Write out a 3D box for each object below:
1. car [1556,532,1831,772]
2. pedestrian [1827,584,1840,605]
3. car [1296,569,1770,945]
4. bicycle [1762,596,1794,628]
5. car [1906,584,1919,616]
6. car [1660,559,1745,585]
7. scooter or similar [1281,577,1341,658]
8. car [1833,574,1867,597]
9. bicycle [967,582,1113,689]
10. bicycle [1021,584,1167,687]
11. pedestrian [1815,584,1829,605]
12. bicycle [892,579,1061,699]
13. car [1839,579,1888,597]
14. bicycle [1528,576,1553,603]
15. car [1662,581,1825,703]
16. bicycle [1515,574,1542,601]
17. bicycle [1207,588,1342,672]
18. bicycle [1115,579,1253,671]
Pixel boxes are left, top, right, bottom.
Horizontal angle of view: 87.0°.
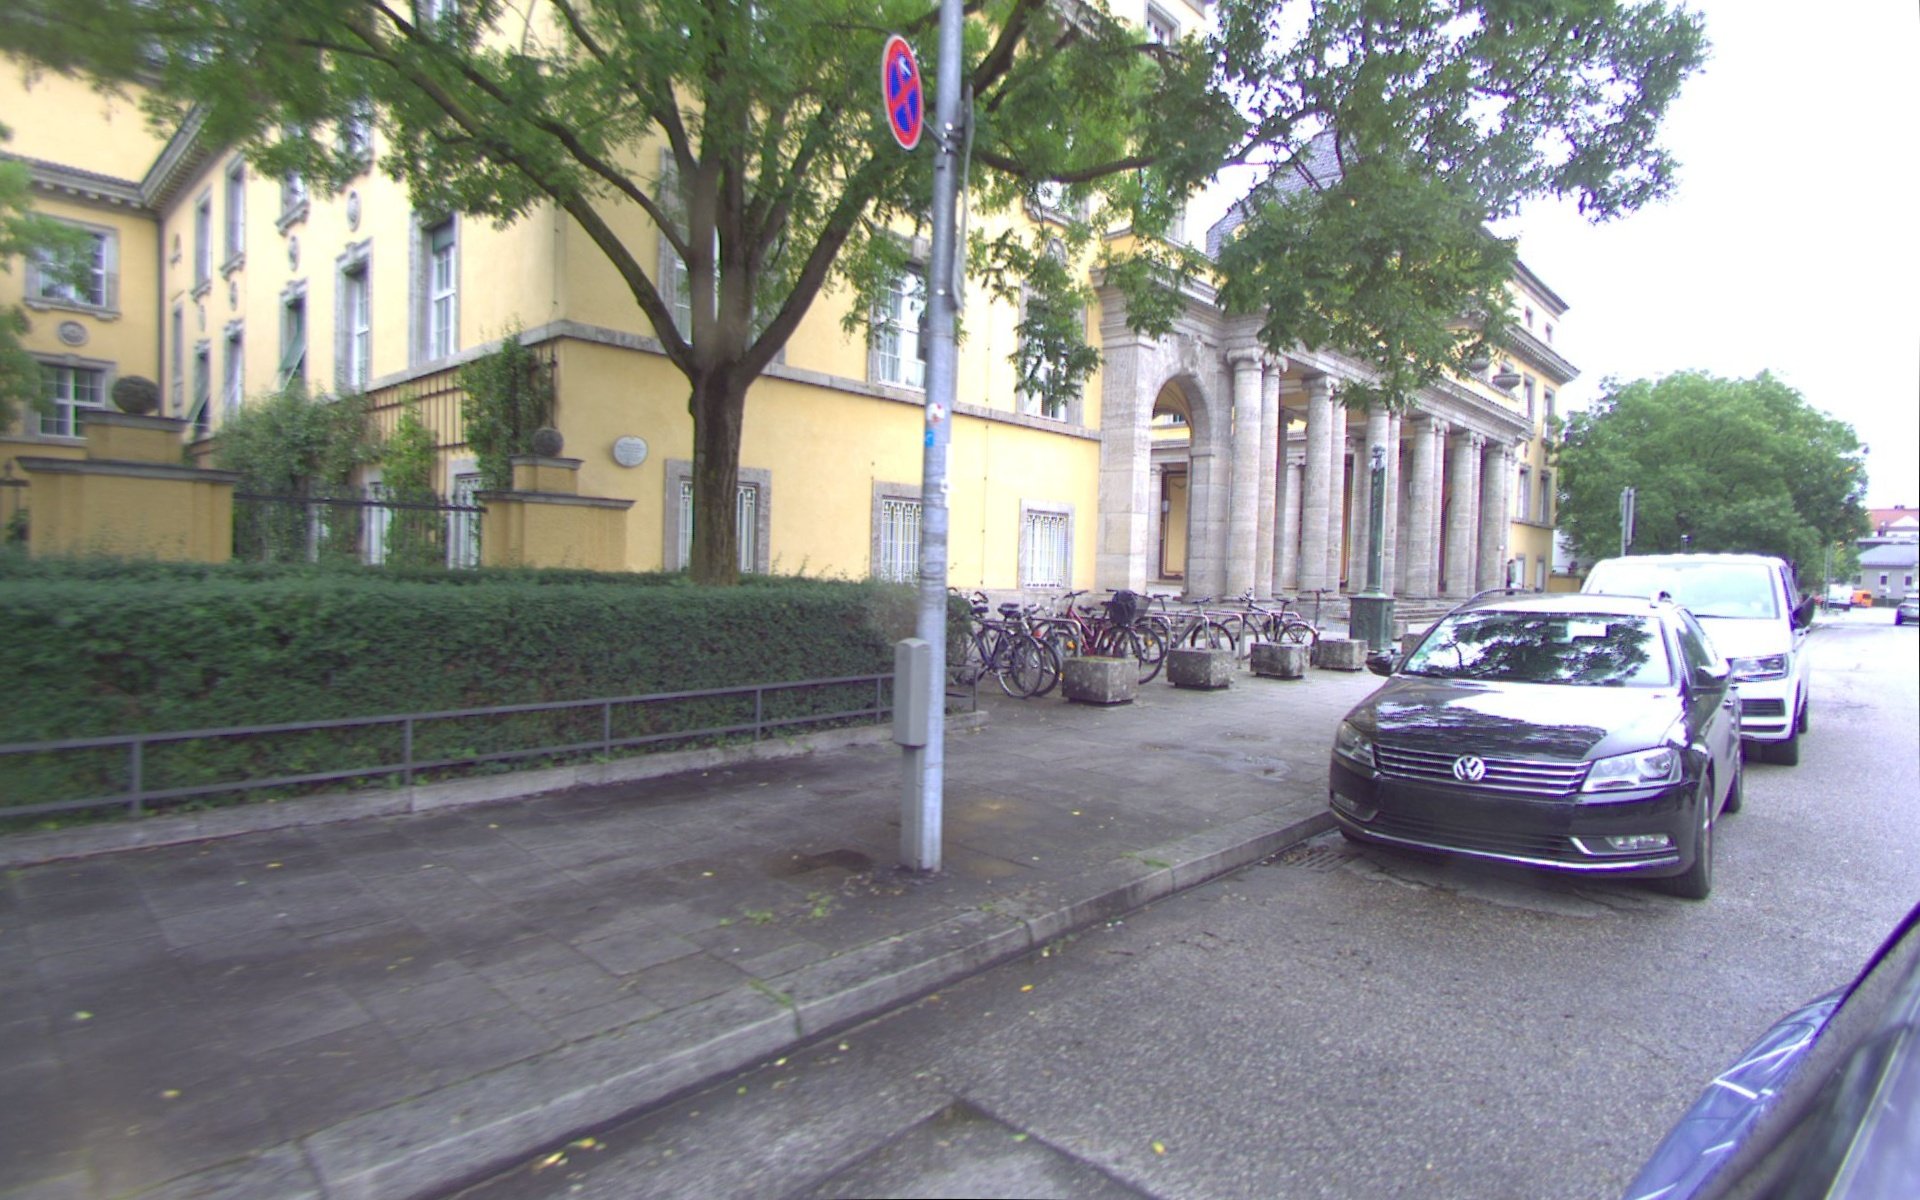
[{"bbox_3d":[8.020,0.402,10.819,1.844,1.958,5.193,-1,0,42],"label":"car"},{"bbox_3d":[77.880,-0.495,90.241,0.773,1.889,0.984,-1,0,37],"label":"pedestrian"},{"bbox_3d":[3.993,0.612,6.523,1.769,1.509,4.901,0,0,40],"label":"car"},{"bbox_3d":[31.496,0.458,38.965,0.760,1.113,2.230,6,5,42],"label":"bicycle"},{"bbox_3d":[54.260,0.032,56.442,2.026,1.710,4.602,4,3,44],"label":"car"},{"bbox_3d":[55.192,-2.088,75.262,4.894,1.702,1.937,4,3,42],"label":"car"},{"bbox_3d":[5.726,0.270,16.543,0.527,1.237,1.013,2,2,-2],"label":"scooter or similar"},{"bbox_3d":[90.607,-1.500,103.024,2.225,2.331,4.667,-1,1,37],"label":"car"},{"bbox_3d":[0.947,0.400,12.481,0.463,1.127,1.933,0,3,-44],"label":"bicycle"},{"bbox_3d":[1.667,0.413,12.865,0.463,1.127,1.934,0,3,-44],"label":"bicycle"},{"bbox_3d":[77.313,-0.493,90.774,0.772,1.889,0.985,-1,0,35],"label":"pedestrian"},{"bbox_3d":[0.140,0.388,11.221,2.030,1.127,0.464,5,3,41],"label":"bicycle"},{"bbox_3d":[132.572,-1.714,148.514,2.522,2.567,4.991,-1,1,-3],"label":"car"},{"bbox_3d":[29.662,-0.532,51.667,0.600,1.323,2.132,4,3,42],"label":"bicycle"},{"bbox_3d":[11.340,0.522,14.594,1.605,1.565,2.888,0,0,43],"label":"car"},{"bbox_3d":[28.092,-0.624,49.957,0.600,1.323,2.229,4,3,43],"label":"bicycle"},{"bbox_3d":[4.833,0.429,15.638,1.930,1.127,0.464,5,3,41],"label":"bicycle"},{"bbox_3d":[3.142,0.318,14.377,0.463,1.127,1.934,0,3,-44],"label":"bicycle"}]
